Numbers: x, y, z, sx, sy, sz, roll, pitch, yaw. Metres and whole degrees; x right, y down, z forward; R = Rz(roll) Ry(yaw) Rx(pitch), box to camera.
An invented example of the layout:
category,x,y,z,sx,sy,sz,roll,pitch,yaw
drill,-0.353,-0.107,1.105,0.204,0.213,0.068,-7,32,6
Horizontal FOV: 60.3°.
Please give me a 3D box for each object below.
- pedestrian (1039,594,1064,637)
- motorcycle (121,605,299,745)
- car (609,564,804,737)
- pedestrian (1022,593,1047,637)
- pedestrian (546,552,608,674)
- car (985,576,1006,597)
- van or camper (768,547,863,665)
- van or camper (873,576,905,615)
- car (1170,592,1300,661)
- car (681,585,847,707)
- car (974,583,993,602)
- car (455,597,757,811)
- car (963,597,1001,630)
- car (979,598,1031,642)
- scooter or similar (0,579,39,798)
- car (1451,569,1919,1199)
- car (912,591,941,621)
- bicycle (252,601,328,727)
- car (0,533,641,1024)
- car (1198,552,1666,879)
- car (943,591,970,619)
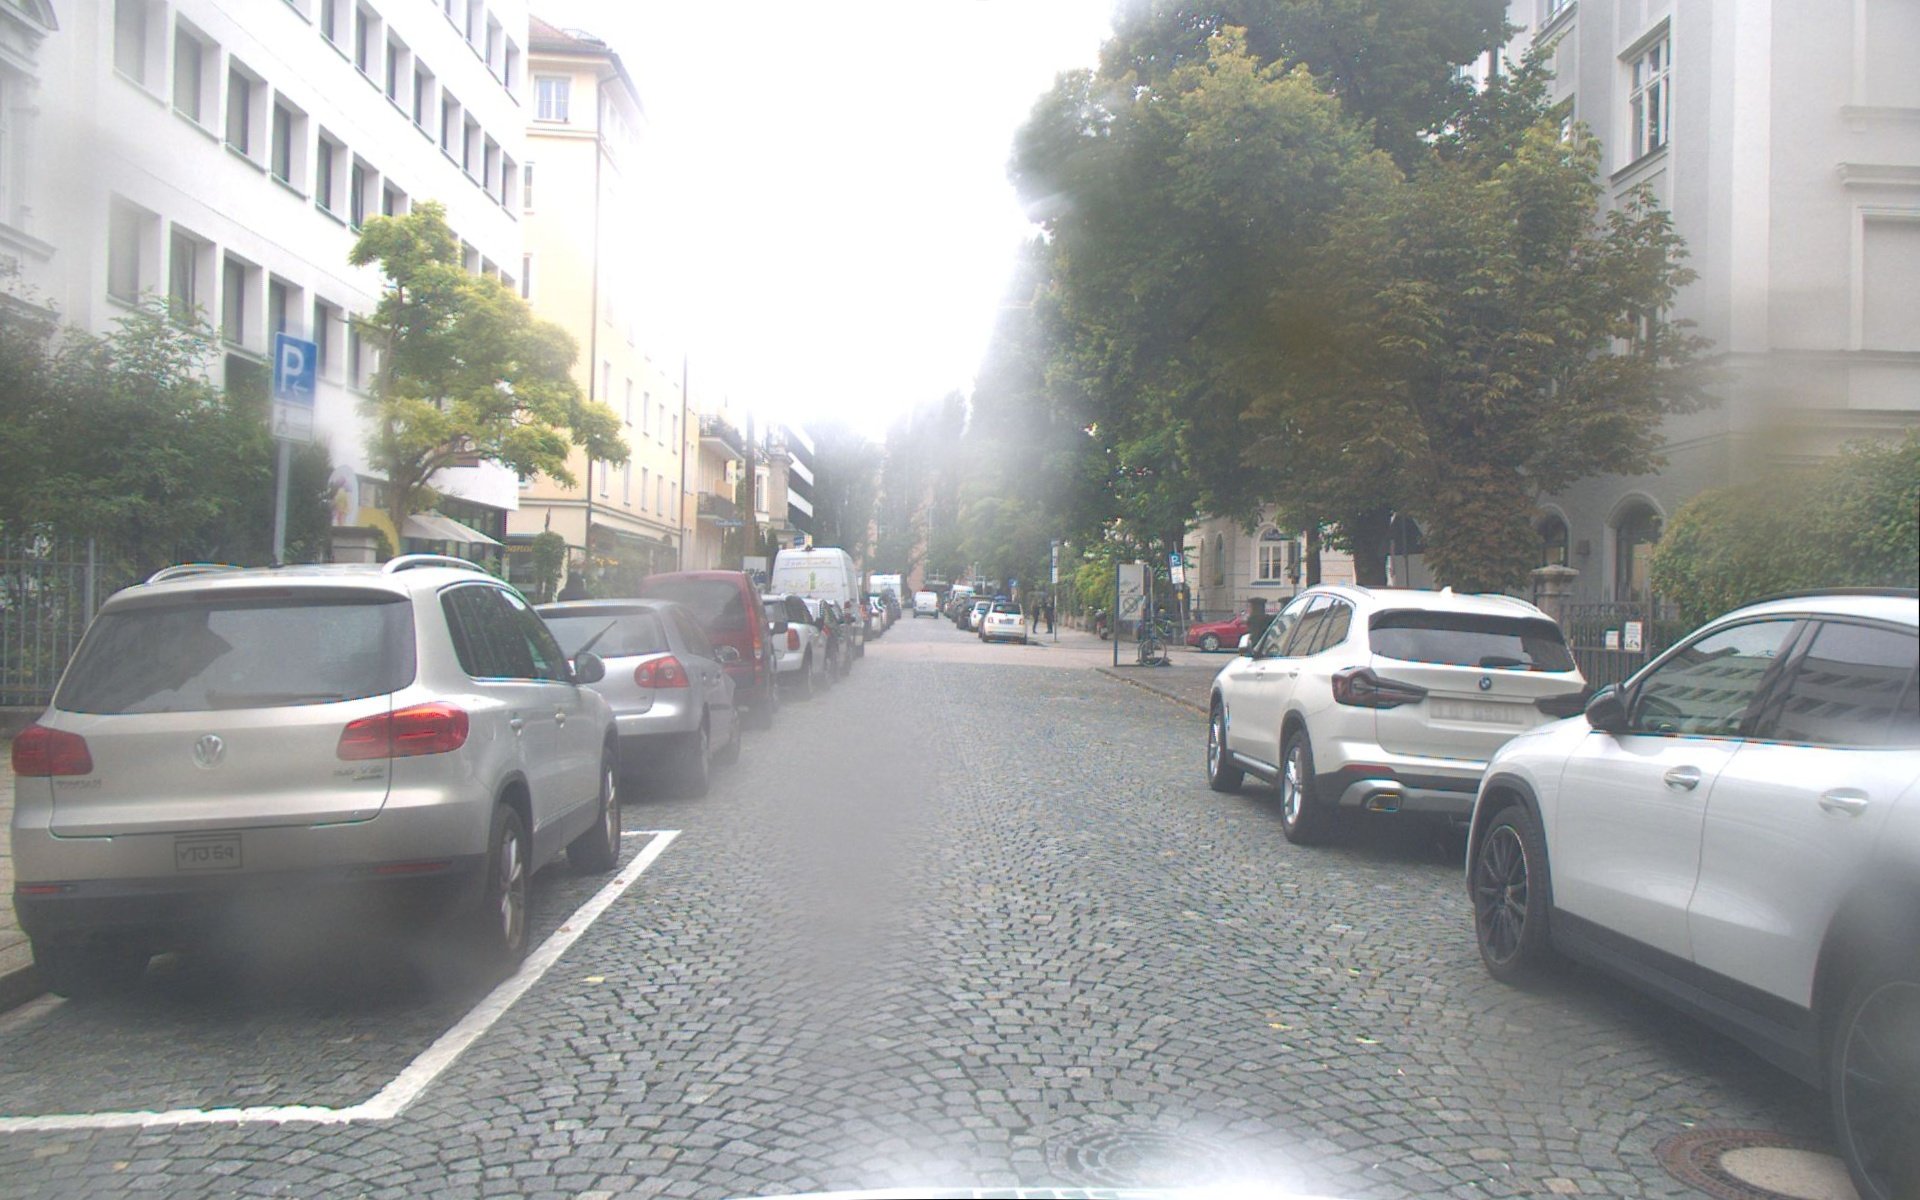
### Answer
category,x,y,z,sx,sy,sz,roll,pitch,yaw
pedestrian,4.366,0.746,79.095,0.843,2.049,0.986,1,0,-19
motorcycle,-7.011,0.666,15.569,0.609,1.217,1.866,1,0,7
car,-2.970,0.546,20.188,1.836,1.807,4.120,-2,0,-3
pedestrian,3.545,0.724,78.624,0.843,2.049,0.986,1,0,-19
pedestrian,-6.300,0.207,27.242,0.776,1.951,0.758,2,0,-2
car,3.512,-1.335,164.543,1.953,2.049,3.999,1,0,-1
van or camper,-3.461,0.136,40.381,1.953,2.698,3.999,-2,0,-1
van or camper,-5.362,-0.359,124.932,2.210,2.790,5.096,2,0,-1
car,8.697,0.818,52.602,3.902,2.049,2.001,1,0,6
car,-2.902,0.651,25.409,1.834,1.607,4.209,3,0,2
car,2.667,-0.867,189.042,1.953,2.049,3.999,1,0,-1
car,-2.755,0.729,13.799,1.836,1.476,4.205,-1,0,-3
car,1.053,0.662,82.224,1.753,1.547,3.999,1,0,-1
car,1.633,0.709,61.604,1.753,1.547,3.999,1,0,-1
scooter or similar,-6.867,0.587,10.192,0.922,1.467,2.656,1,0,-1
car,3.204,0.789,5.325,1.781,1.607,4.206,4,0,-2
car,-2.385,0.417,118.571,1.953,2.049,3.999,1,0,-1
bicycle,-7.160,0.652,17.729,0.645,1.242,2.077,1,0,-20
car,-2.723,0.595,7.725,1.836,1.607,4.252,-2,0,-3
car,3.055,0.665,11.829,1.835,1.763,4.592,4,0,-2
car,-0.280,0.362,125.361,1.953,2.049,3.999,2,0,-1
